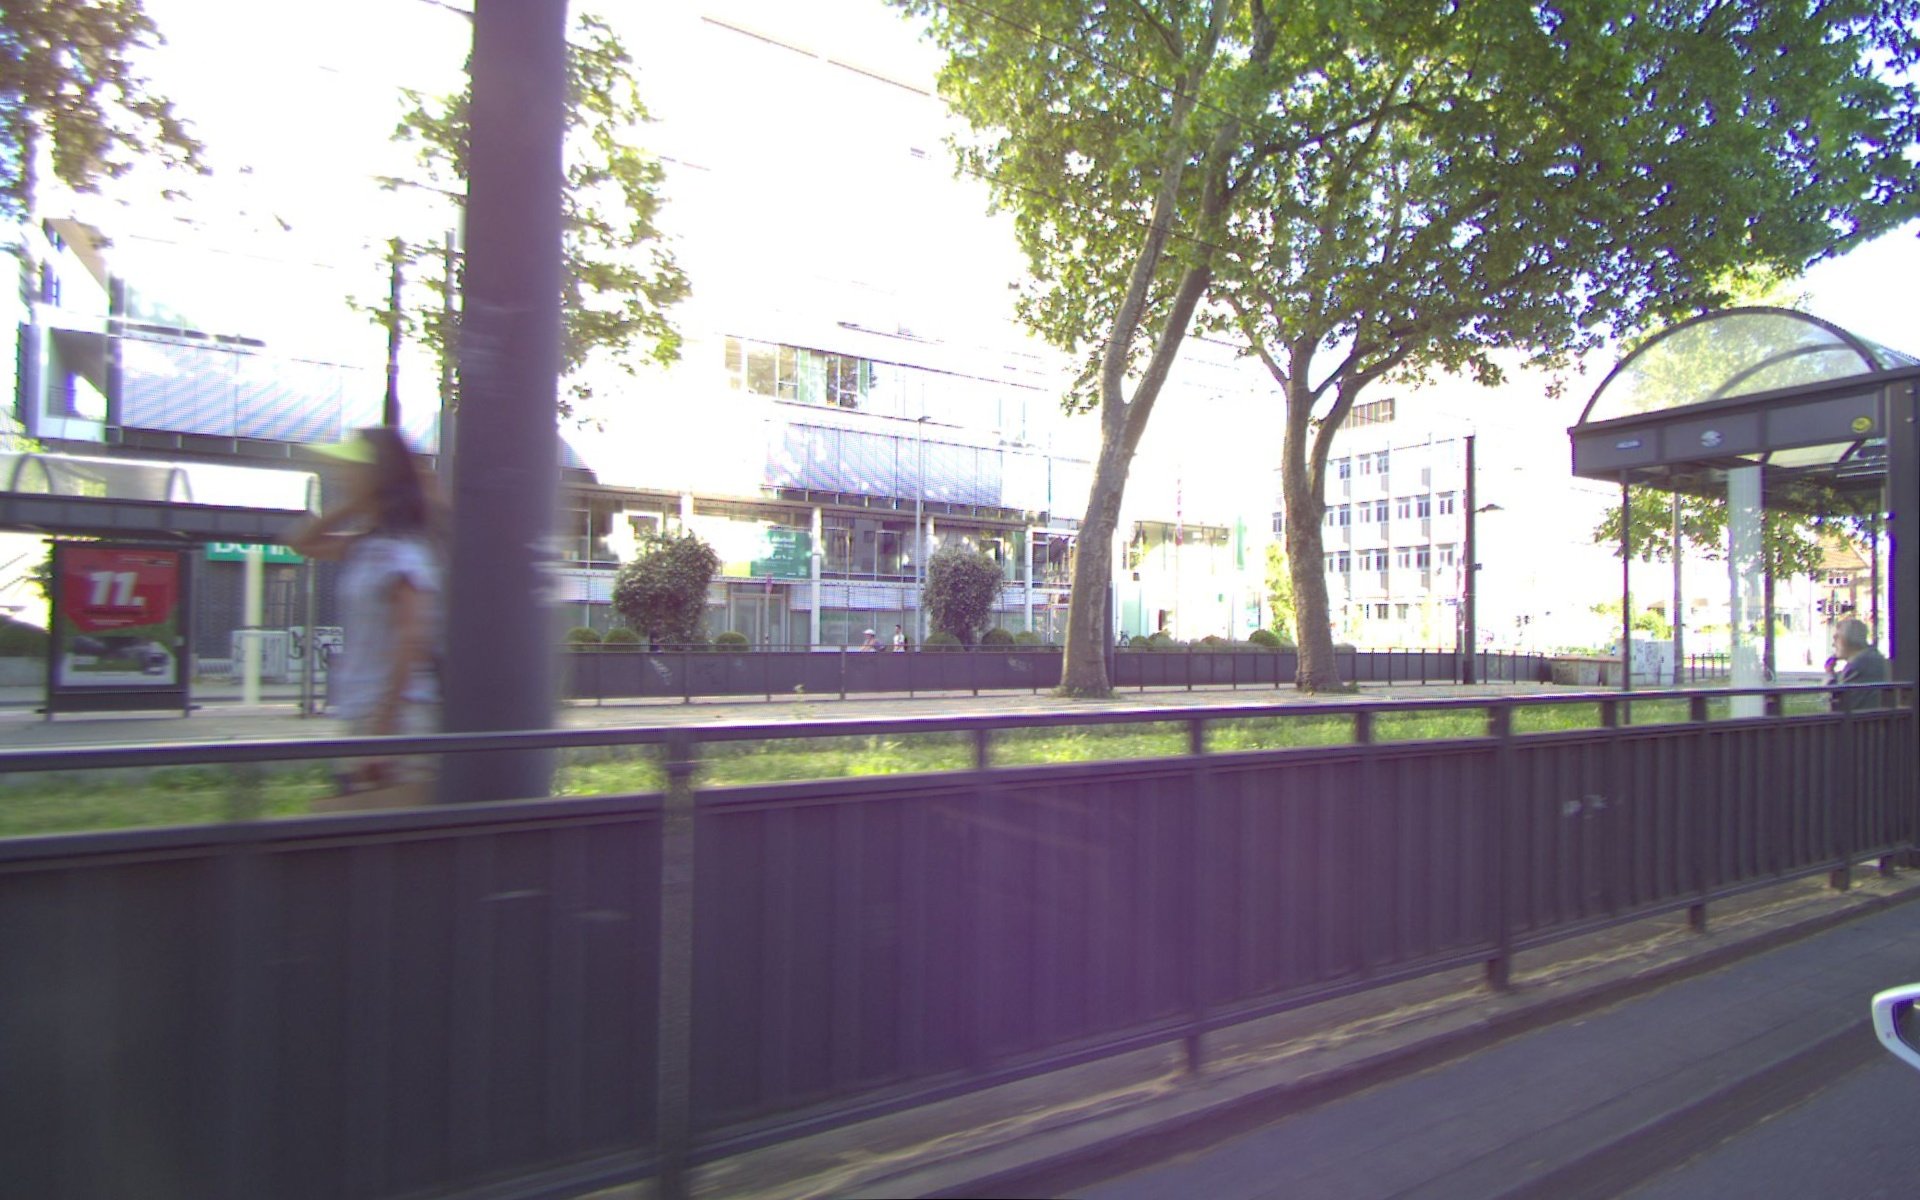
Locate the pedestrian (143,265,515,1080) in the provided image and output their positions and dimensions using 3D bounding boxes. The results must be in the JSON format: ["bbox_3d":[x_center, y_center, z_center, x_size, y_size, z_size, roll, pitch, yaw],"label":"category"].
[{"bbox_3d":[-1.707,0.177,2.807,0.744,1.896,0.642,2,-1,-30],"label":"pedestrian"}]

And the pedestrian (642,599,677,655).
[{"bbox_3d":[-8.784,0.788,29.333,0.759,1.613,0.901,2,-2,-31],"label":"pedestrian"}]

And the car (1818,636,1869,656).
[{"bbox_3d":[78.449,4.069,89.179,4.321,1.725,1.987,2,-2,-27],"label":"car"}]

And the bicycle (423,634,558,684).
[{"bbox_3d":[-10.130,1.254,21.723,2.558,1.010,0.795,1,0,-34],"label":"bicycle"}]

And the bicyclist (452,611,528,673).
[{"bbox_3d":[-10.156,0.889,21.710,1.360,1.267,0.998,1,0,-33],"label":"bicyclist"}]

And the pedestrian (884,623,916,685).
[{"bbox_3d":[-1.986,1.772,33.169,0.825,2.002,0.602,1,0,-33],"label":"pedestrian"}]

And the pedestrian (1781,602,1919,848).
[{"bbox_3d":[5.409,0.697,5.937,0.792,1.337,0.623,2,-1,-30],"label":"pedestrian"}]

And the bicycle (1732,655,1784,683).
[{"bbox_3d":[28.845,2.491,36.315,1.702,0.958,0.810,2,-2,-25],"label":"bicycle"}]

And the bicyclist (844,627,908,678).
[{"bbox_3d":[-2.219,1.378,26.588,1.360,1.267,0.998,1,0,-33],"label":"bicyclist"}]

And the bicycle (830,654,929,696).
[{"bbox_3d":[-2.128,1.965,26.685,2.558,1.010,0.795,1,0,-34],"label":"bicycle"}]

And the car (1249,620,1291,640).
[{"bbox_3d":[31.923,3.057,103.383,3.956,2.040,1.983,2,-2,-32],"label":"car"}]
